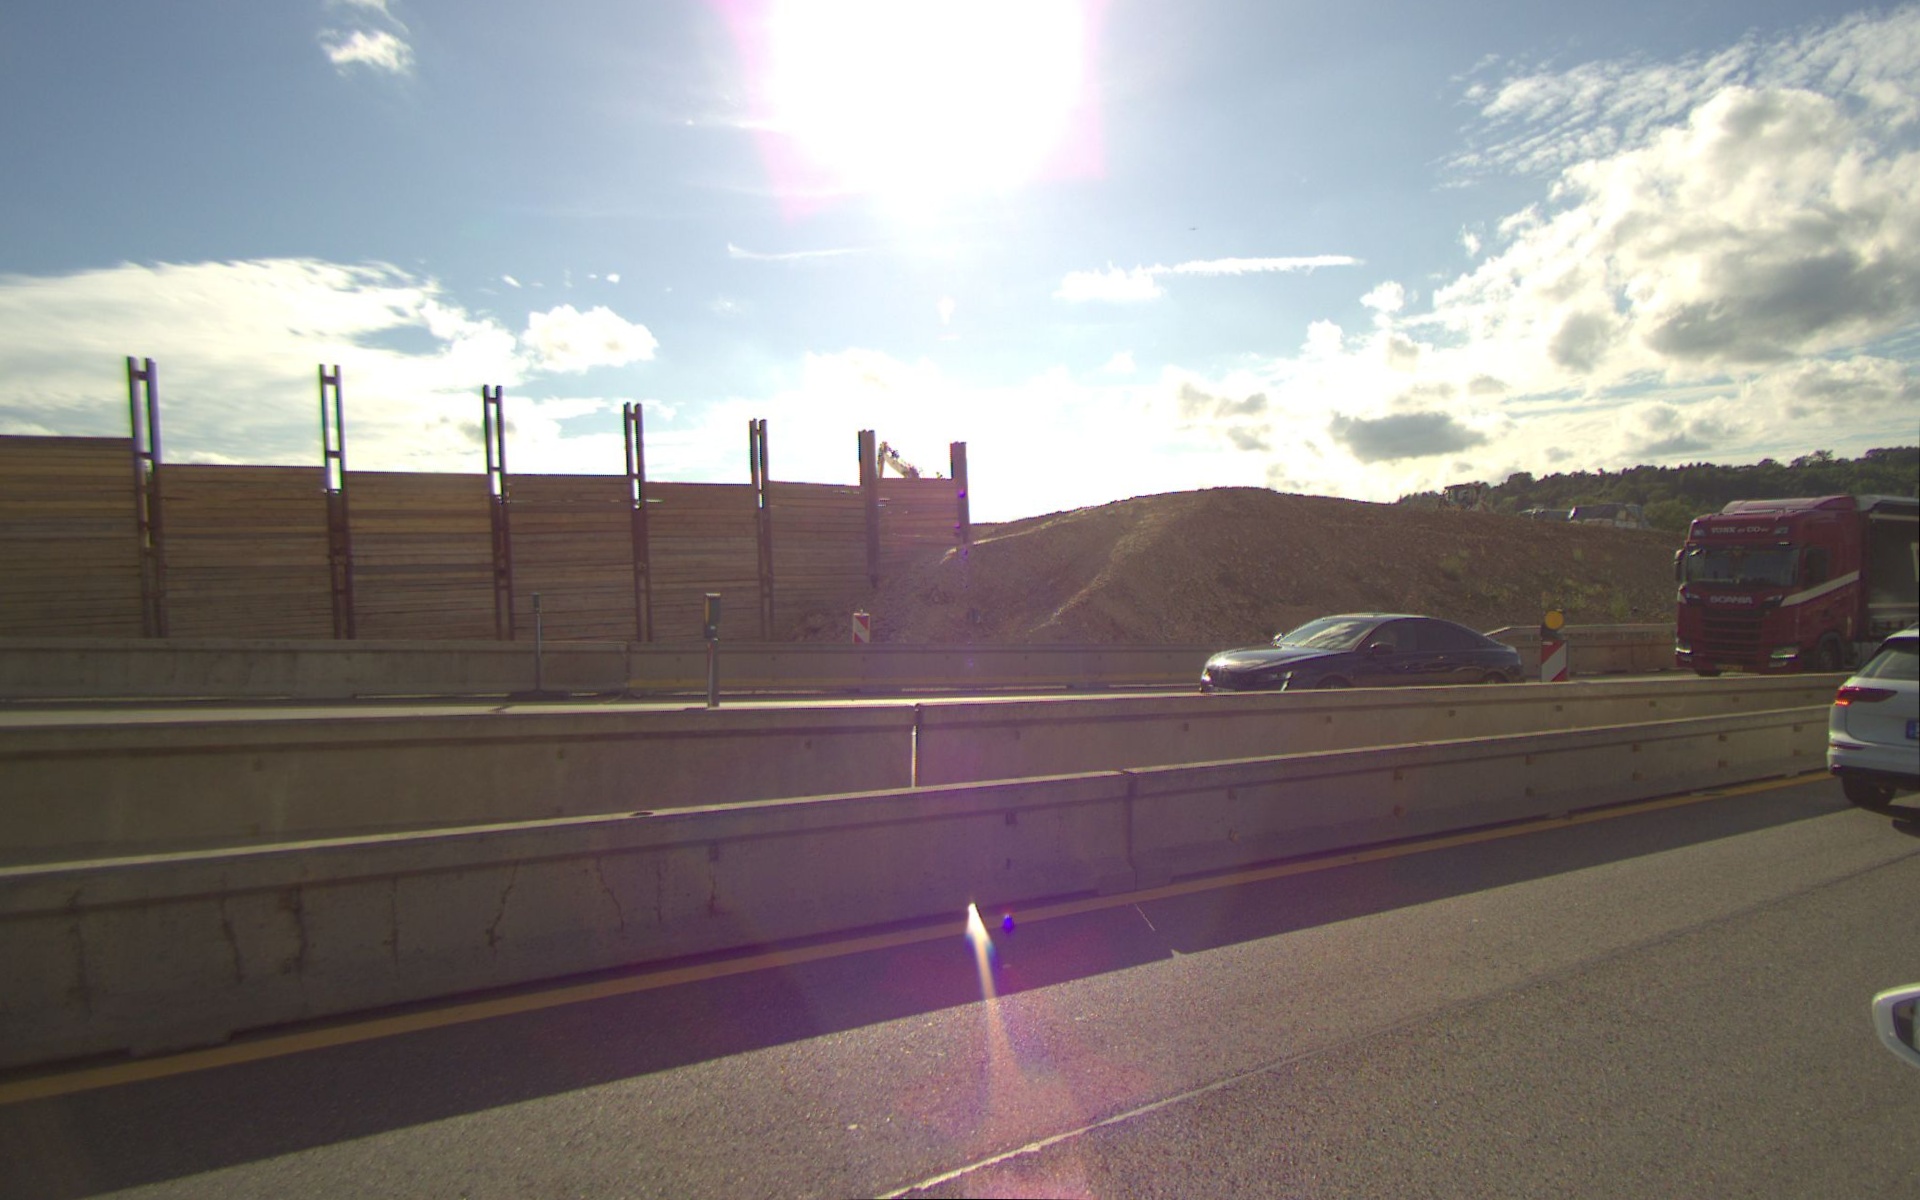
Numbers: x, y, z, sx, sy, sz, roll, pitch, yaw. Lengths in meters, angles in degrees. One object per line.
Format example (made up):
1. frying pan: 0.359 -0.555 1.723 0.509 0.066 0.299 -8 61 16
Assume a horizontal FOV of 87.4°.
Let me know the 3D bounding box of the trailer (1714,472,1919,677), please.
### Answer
1. trailer: 25.196 -0.447 26.540 13.646 4.482 2.963 1 1 -29

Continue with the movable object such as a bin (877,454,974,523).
1. movable object such as a bin: -2.216 -6.722 61.859 4.440 3.314 5.742 3 0 -18

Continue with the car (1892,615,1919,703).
1. car: 20.549 1.173 19.691 4.444 1.670 1.838 1 0 -26

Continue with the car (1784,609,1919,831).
1. car: 8.562 0.839 7.901 4.463 1.511 1.761 0 0 -30

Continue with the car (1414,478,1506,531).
1. car: 27.538 -5.185 55.259 5.261 2.167 1.985 3 -6 -31

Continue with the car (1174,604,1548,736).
1. car: 5.206 0.841 13.018 4.548 1.459 1.817 1 0 -23

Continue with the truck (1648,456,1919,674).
1. truck: 19.345 -0.648 23.315 6.208 4.446 2.902 2 1 -28
